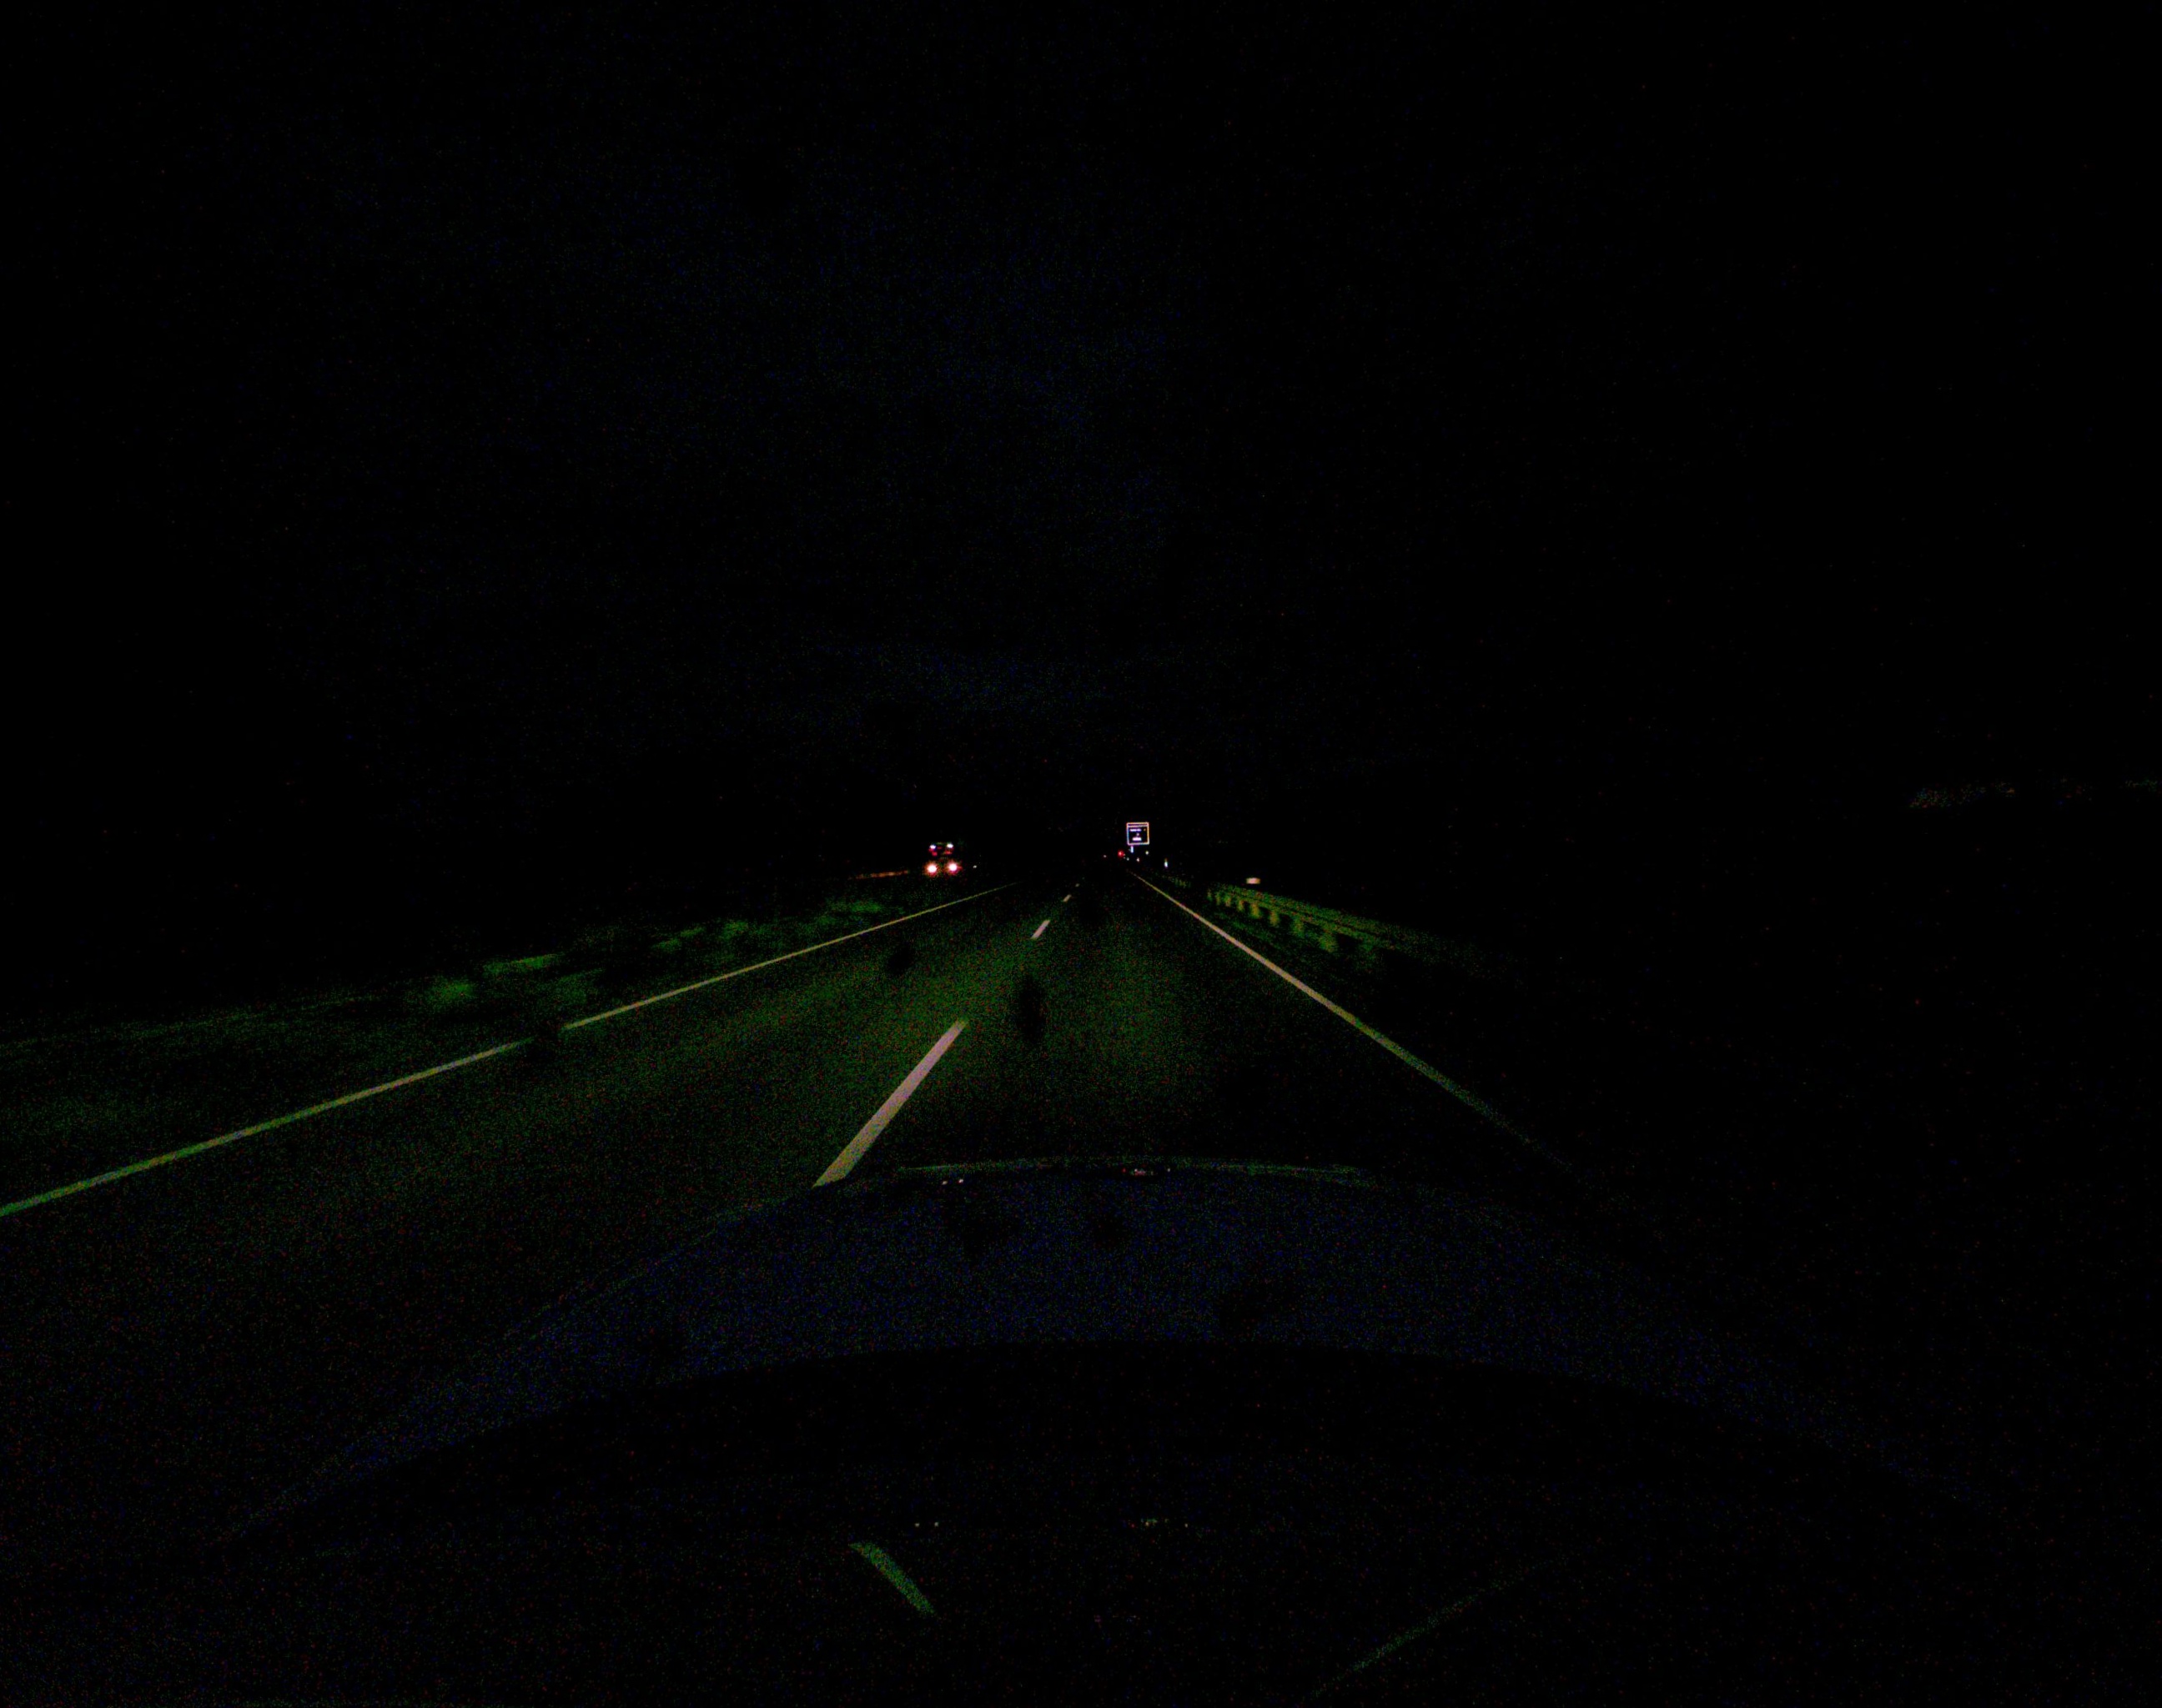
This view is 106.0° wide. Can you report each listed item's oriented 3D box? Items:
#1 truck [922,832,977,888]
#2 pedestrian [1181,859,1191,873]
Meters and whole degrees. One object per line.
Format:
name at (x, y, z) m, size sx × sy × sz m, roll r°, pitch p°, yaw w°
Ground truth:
truck at (-13.442, 0.573, 84.570) m, size 3.191 × 5.255 × 12.612 m, roll -2°, pitch 0°, yaw 1°
pedestrian at (12.345, 1.377, 95.669) m, size 1.058 × 1.643 × 1.119 m, roll -1°, pitch -1°, yaw 2°
